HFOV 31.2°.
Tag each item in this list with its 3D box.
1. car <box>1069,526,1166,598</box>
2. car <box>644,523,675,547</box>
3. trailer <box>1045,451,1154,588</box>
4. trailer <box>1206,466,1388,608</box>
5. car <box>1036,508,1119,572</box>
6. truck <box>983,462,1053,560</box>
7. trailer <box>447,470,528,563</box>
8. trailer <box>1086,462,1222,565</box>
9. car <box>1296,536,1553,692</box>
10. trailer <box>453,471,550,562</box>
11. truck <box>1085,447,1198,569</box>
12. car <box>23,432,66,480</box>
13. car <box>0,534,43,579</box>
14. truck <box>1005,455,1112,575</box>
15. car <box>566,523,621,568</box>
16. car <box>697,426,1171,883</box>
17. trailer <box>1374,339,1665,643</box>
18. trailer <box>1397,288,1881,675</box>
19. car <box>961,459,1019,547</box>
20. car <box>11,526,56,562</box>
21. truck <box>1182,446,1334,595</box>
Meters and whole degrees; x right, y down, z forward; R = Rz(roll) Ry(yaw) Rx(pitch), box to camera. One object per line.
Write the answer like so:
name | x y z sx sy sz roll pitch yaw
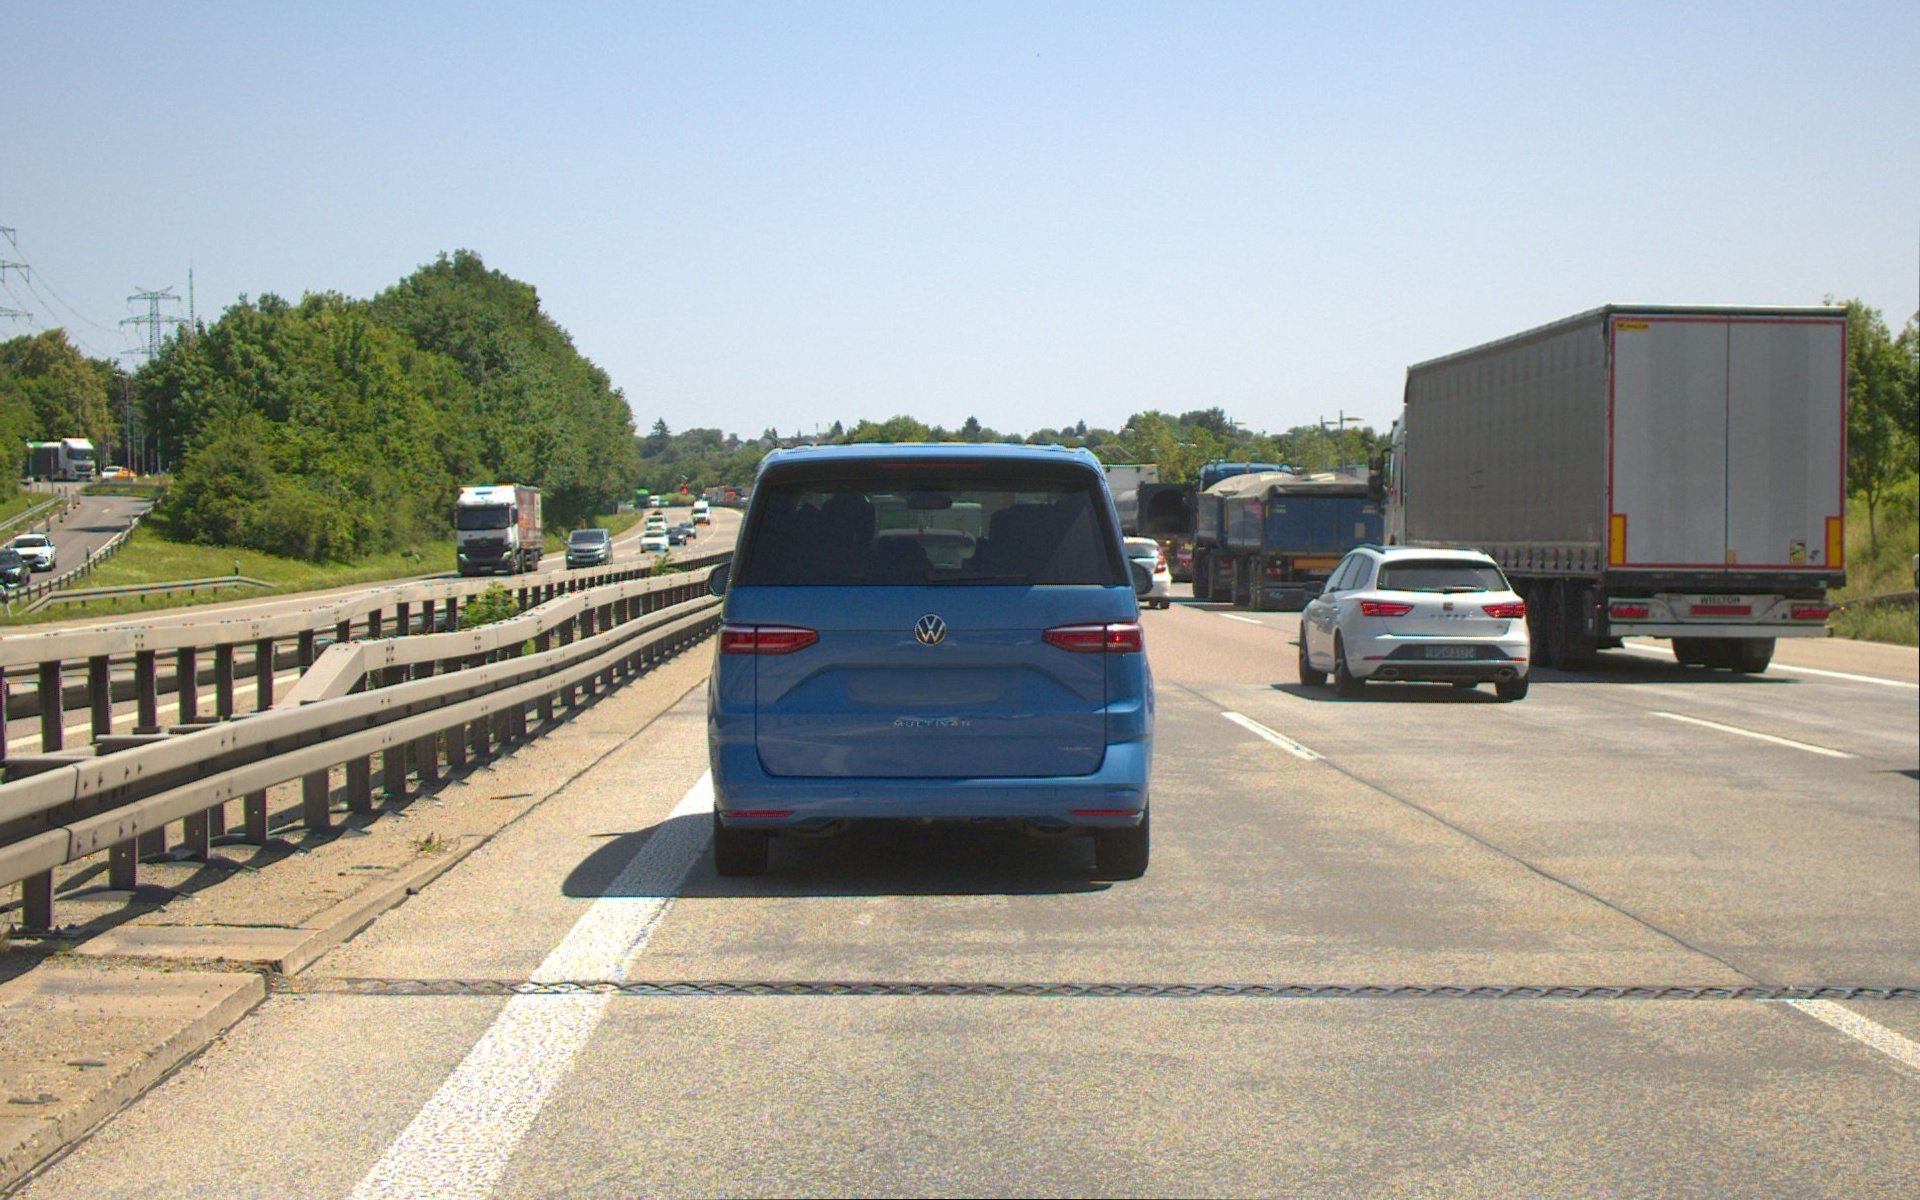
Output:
car | 3.286 -0.793 72.314 1.840 1.449 4.000 1 0 0
car | -19.889 -4.296 227.557 1.850 1.462 4.305 -1 1 -3
trailer | 5.457 -3.106 137.114 3.646 5.118 13.076 1 0 0
trailer | 7.126 -1.420 73.904 2.743 2.827 9.117 1 2 -1
car | 2.882 -1.470 85.317 1.781 1.519 4.000 1 0 -2
truck | 3.014 -4.609 181.164 3.068 4.903 10.691 1 0 -2
trailer | -20.994 -3.709 152.997 2.757 3.962 6.132 -2 1 -1
trailer | 6.207 -2.717 112.625 3.646 3.068 15.772 1 0 0
car | 4.354 0.086 32.766 1.867 1.356 4.000 1 1 0
trailer | -21.179 -3.879 159.508 2.763 3.962 14.683 -2 2 -1
truck | 6.298 -3.156 120.701 3.626 4.080 7.524 1 0 1
car | -59.603 -9.363 223.751 2.068 2.870 6.734 -1 1 -20
car | -34.466 -1.564 124.227 1.993 1.570 5.276 1 0 -8
truck | 4.454 -3.813 159.393 3.621 5.195 15.691 1 0 -3
car | -16.591 -2.458 155.875 1.993 1.934 4.897 1 0 -1
car | -0.114 0.207 16.004 1.901 1.831 4.000 1 0 0
trailer | 7.841 -1.533 49.013 2.924 4.030 6.411 0 1 -1
trailer | 7.984 -1.370 42.864 2.962 4.035 13.753 0 1 -1
car | 1.843 -5.954 213.260 3.218 5.239 8.145 1 0 -1
car | -38.319 -2.310 142.129 1.685 1.451 4.347 1 0 -16
truck | 6.957 -1.917 81.169 2.743 3.300 7.133 1 2 -1
